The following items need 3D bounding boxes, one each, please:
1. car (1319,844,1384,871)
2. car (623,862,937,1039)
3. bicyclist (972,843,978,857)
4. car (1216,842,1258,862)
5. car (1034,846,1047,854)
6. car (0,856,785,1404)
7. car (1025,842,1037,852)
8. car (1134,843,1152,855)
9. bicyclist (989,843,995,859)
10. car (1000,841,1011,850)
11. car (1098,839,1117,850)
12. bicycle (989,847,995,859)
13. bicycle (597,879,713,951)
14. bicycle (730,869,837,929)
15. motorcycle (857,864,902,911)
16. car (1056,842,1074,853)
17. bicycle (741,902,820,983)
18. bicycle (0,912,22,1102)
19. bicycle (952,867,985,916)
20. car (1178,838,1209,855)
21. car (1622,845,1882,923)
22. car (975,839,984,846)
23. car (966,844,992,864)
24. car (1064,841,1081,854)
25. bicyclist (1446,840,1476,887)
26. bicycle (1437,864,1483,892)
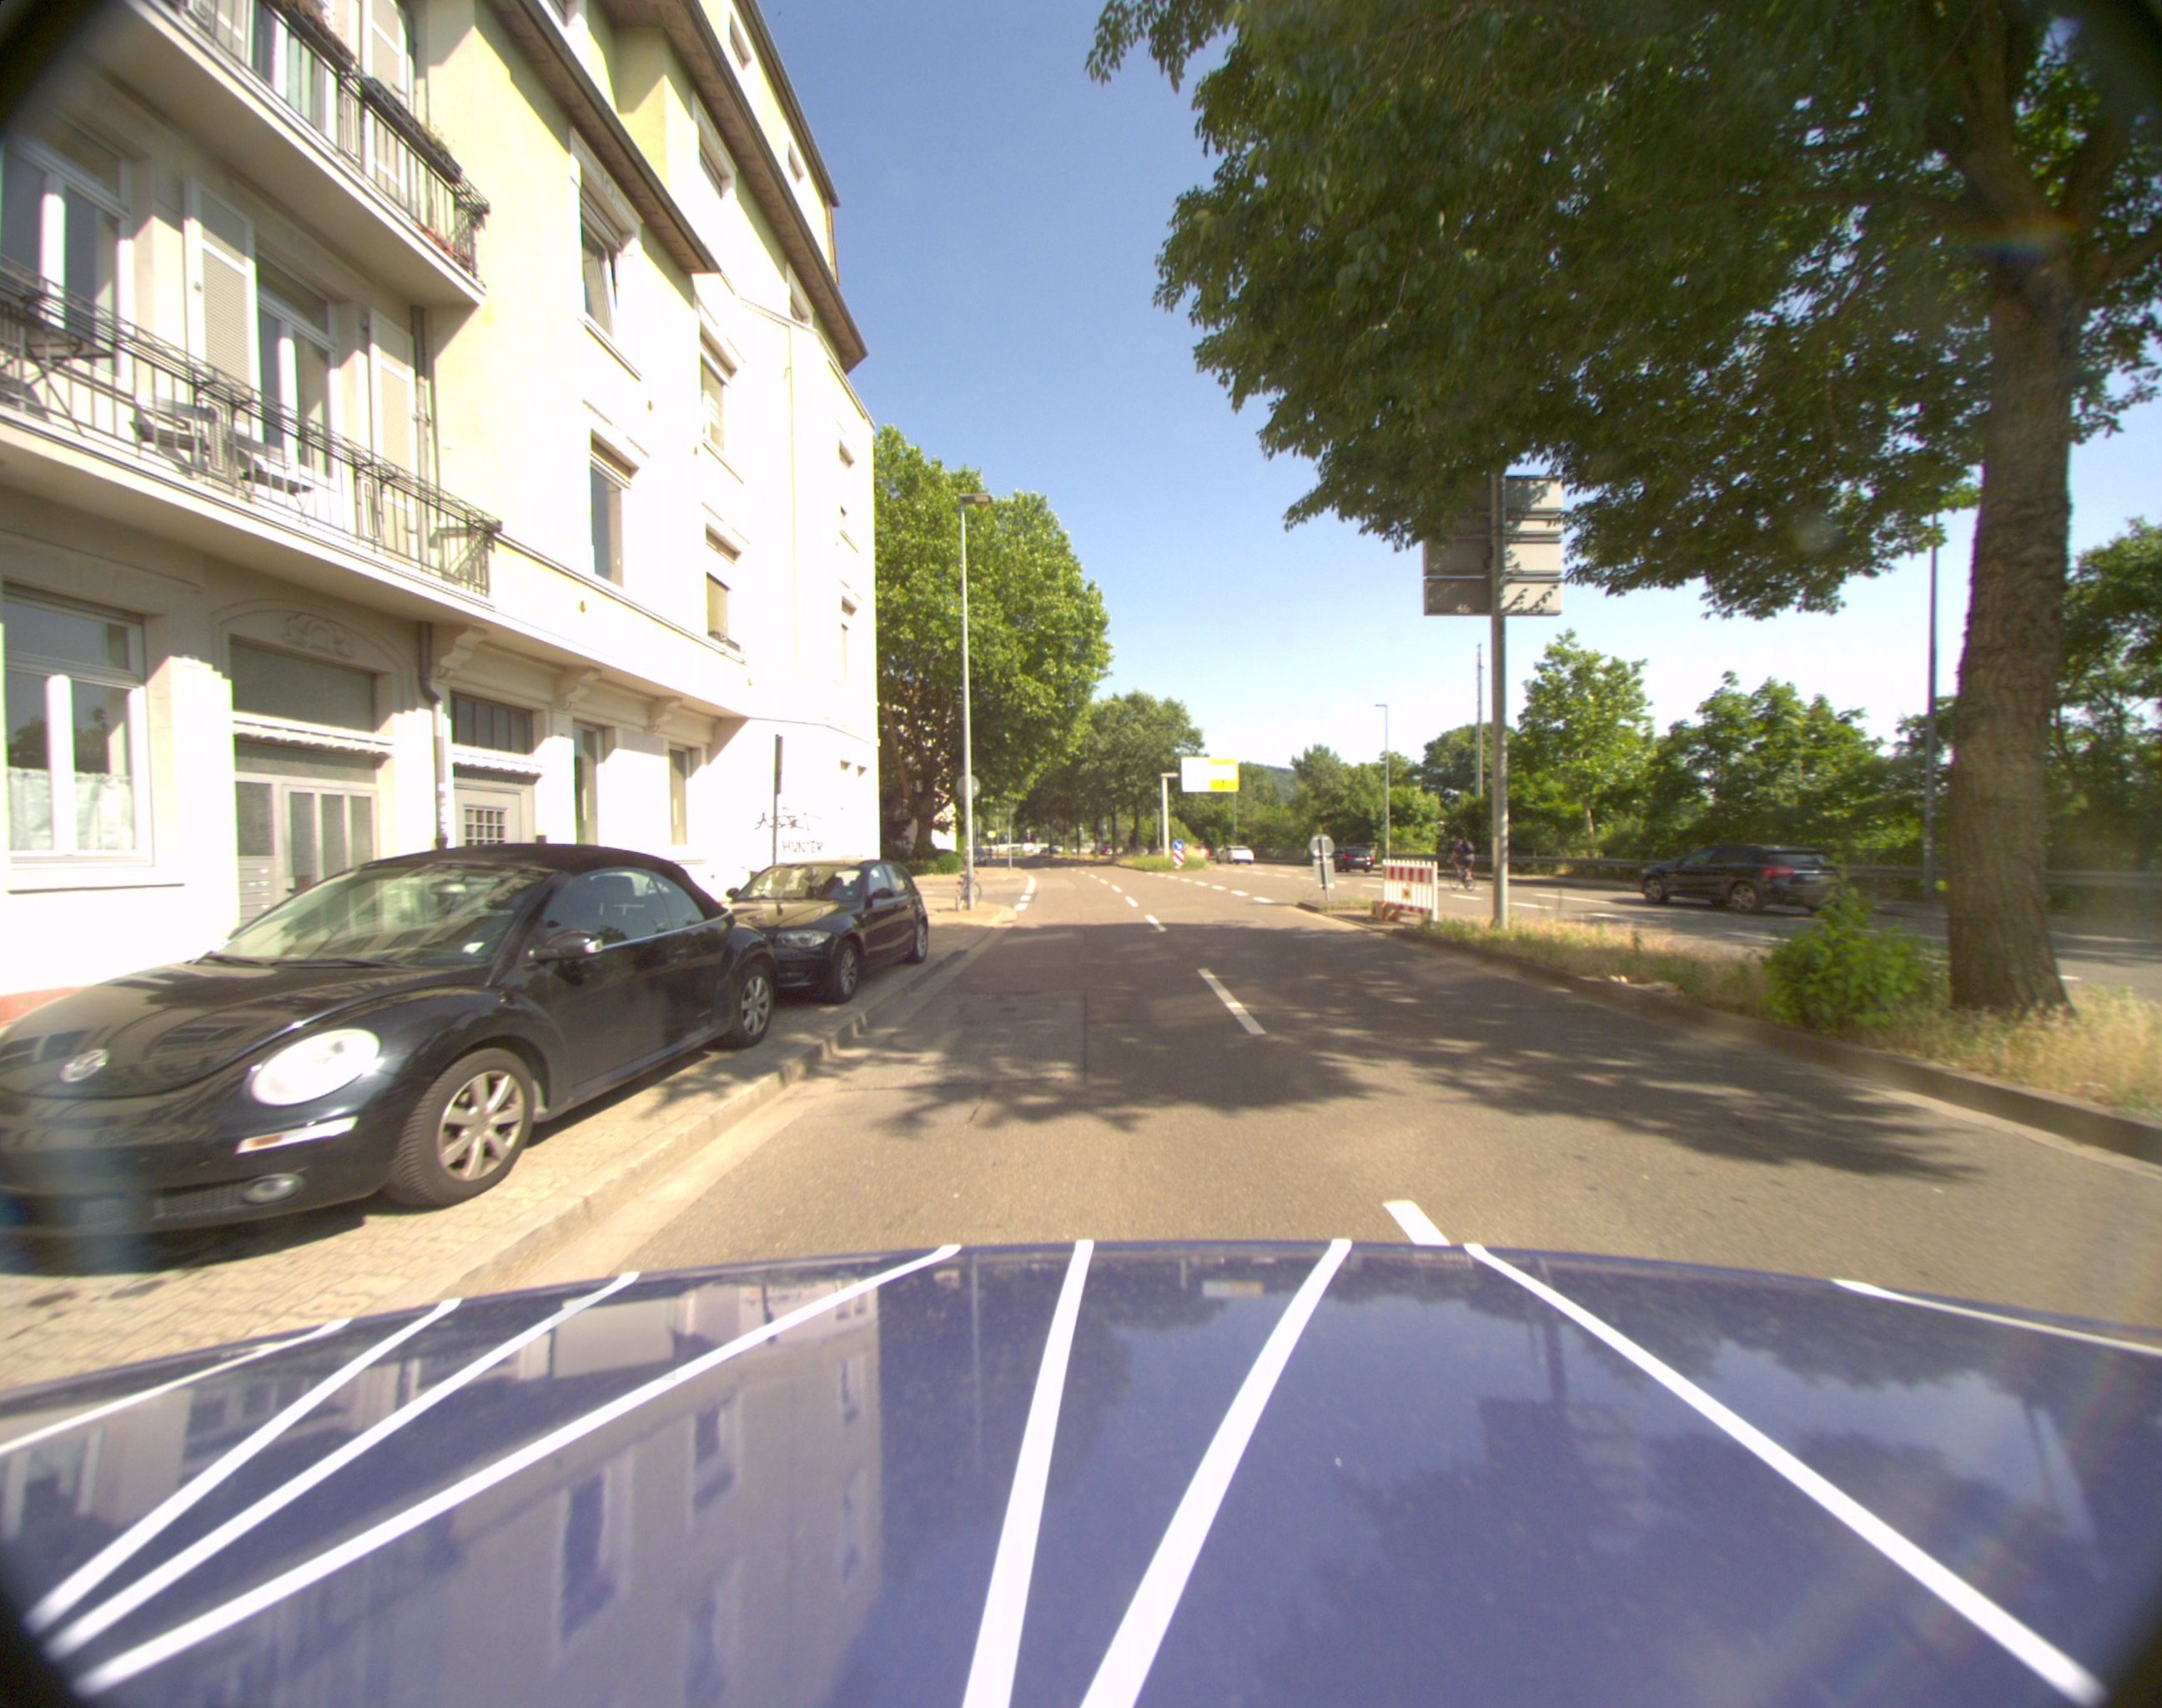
[{"bbox_3d":[15.113,0.158,42.699,1.998,1.404,4.614,0,1,0],"label":"car"},{"bbox_3d":[-2.972,0.845,8.563,1.744,1.408,4.081,0,1,3],"label":"car"},{"bbox_3d":[-13.729,-0.536,98.419,0.648,1.883,0.838,-1,1,-16],"label":"bicyclist"},{"bbox_3d":[12.025,-0.186,58.985,1.870,1.444,4.200,0,1,-8],"label":"car"},{"bbox_3d":[-7.458,-0.799,140.461,1.635,1.487,3.675,-1,1,-15],"label":"car"},{"bbox_3d":[-3.297,0.797,4.187,1.646,1.492,4.010,0,1,2],"label":"car"},{"bbox_3d":[-9.607,-1.438,146.970,1.635,1.904,3.675,0,1,-15],"label":"car"},{"bbox_3d":[8.165,-0.684,99.996,1.681,1.461,3.574,-1,1,-7],"label":"car"},{"bbox_3d":[-8.622,-0.303,73.902,0.541,1.624,0.589,0,1,-6],"label":"bicyclist"},{"bbox_3d":[-15.354,-1.737,155.094,1.635,1.801,3.586,-1,1,-15],"label":"car"},{"bbox_3d":[4.099,-1.464,116.656,1.924,1.654,4.306,0,1,-13],"label":"car"},{"bbox_3d":[-8.617,-0.077,73.886,0.554,1.182,1.285,0,1,-6],"label":"bicycle"},{"bbox_3d":[-6.711,0.922,12.120,0.609,0.940,2.114,-1,1,1],"label":"bicycle"},{"bbox_3d":[-5.644,0.830,14.488,0.537,1.040,1.832,1,1,45],"label":"bicycle"},{"bbox_3d":[-5.433,0.877,20.452,0.474,1.143,1.759,0,1,-39],"label":"motorcycle"},{"bbox_3d":[-2.694,-1.099,127.041,2.001,1.880,3.994,-1,1,-15],"label":"car"},{"bbox_3d":[-4.058,1.166,10.359,0.449,0.886,1.581,1,1,-1],"label":"bicycle"},{"bbox_3d":[-7.003,0.965,3.986,0.567,1.173,1.626,-1,1,1],"label":"bicycle"},{"bbox_3d":[-2.744,0.898,18.637,0.578,1.081,1.734,-1,1,-1],"label":"bicycle"},{"bbox_3d":[10.325,-0.729,69.876,1.803,1.511,3.960,0,1,-8],"label":"car"},{"bbox_3d":[15.222,0.580,17.702,1.998,1.520,4.698,1,1,2],"label":"car"},{"bbox_3d":[-24.312,-2.753,181.552,1.635,1.801,3.587,-1,1,-15],"label":"car"},{"bbox_3d":[-8.148,-0.021,60.553,1.794,1.504,3.889,-1,1,-10],"label":"car"},{"bbox_3d":[-1.357,-1.006,119.208,2.000,1.880,3.995,-1,1,-12],"label":"car"},{"bbox_3d":[12.408,0.299,24.844,0.575,1.525,0.778,-1,1,-3],"label":"bicyclist"},{"bbox_3d":[12.396,0.767,24.897,0.495,0.828,1.805,-1,1,-4],"label":"bicycle"}]
